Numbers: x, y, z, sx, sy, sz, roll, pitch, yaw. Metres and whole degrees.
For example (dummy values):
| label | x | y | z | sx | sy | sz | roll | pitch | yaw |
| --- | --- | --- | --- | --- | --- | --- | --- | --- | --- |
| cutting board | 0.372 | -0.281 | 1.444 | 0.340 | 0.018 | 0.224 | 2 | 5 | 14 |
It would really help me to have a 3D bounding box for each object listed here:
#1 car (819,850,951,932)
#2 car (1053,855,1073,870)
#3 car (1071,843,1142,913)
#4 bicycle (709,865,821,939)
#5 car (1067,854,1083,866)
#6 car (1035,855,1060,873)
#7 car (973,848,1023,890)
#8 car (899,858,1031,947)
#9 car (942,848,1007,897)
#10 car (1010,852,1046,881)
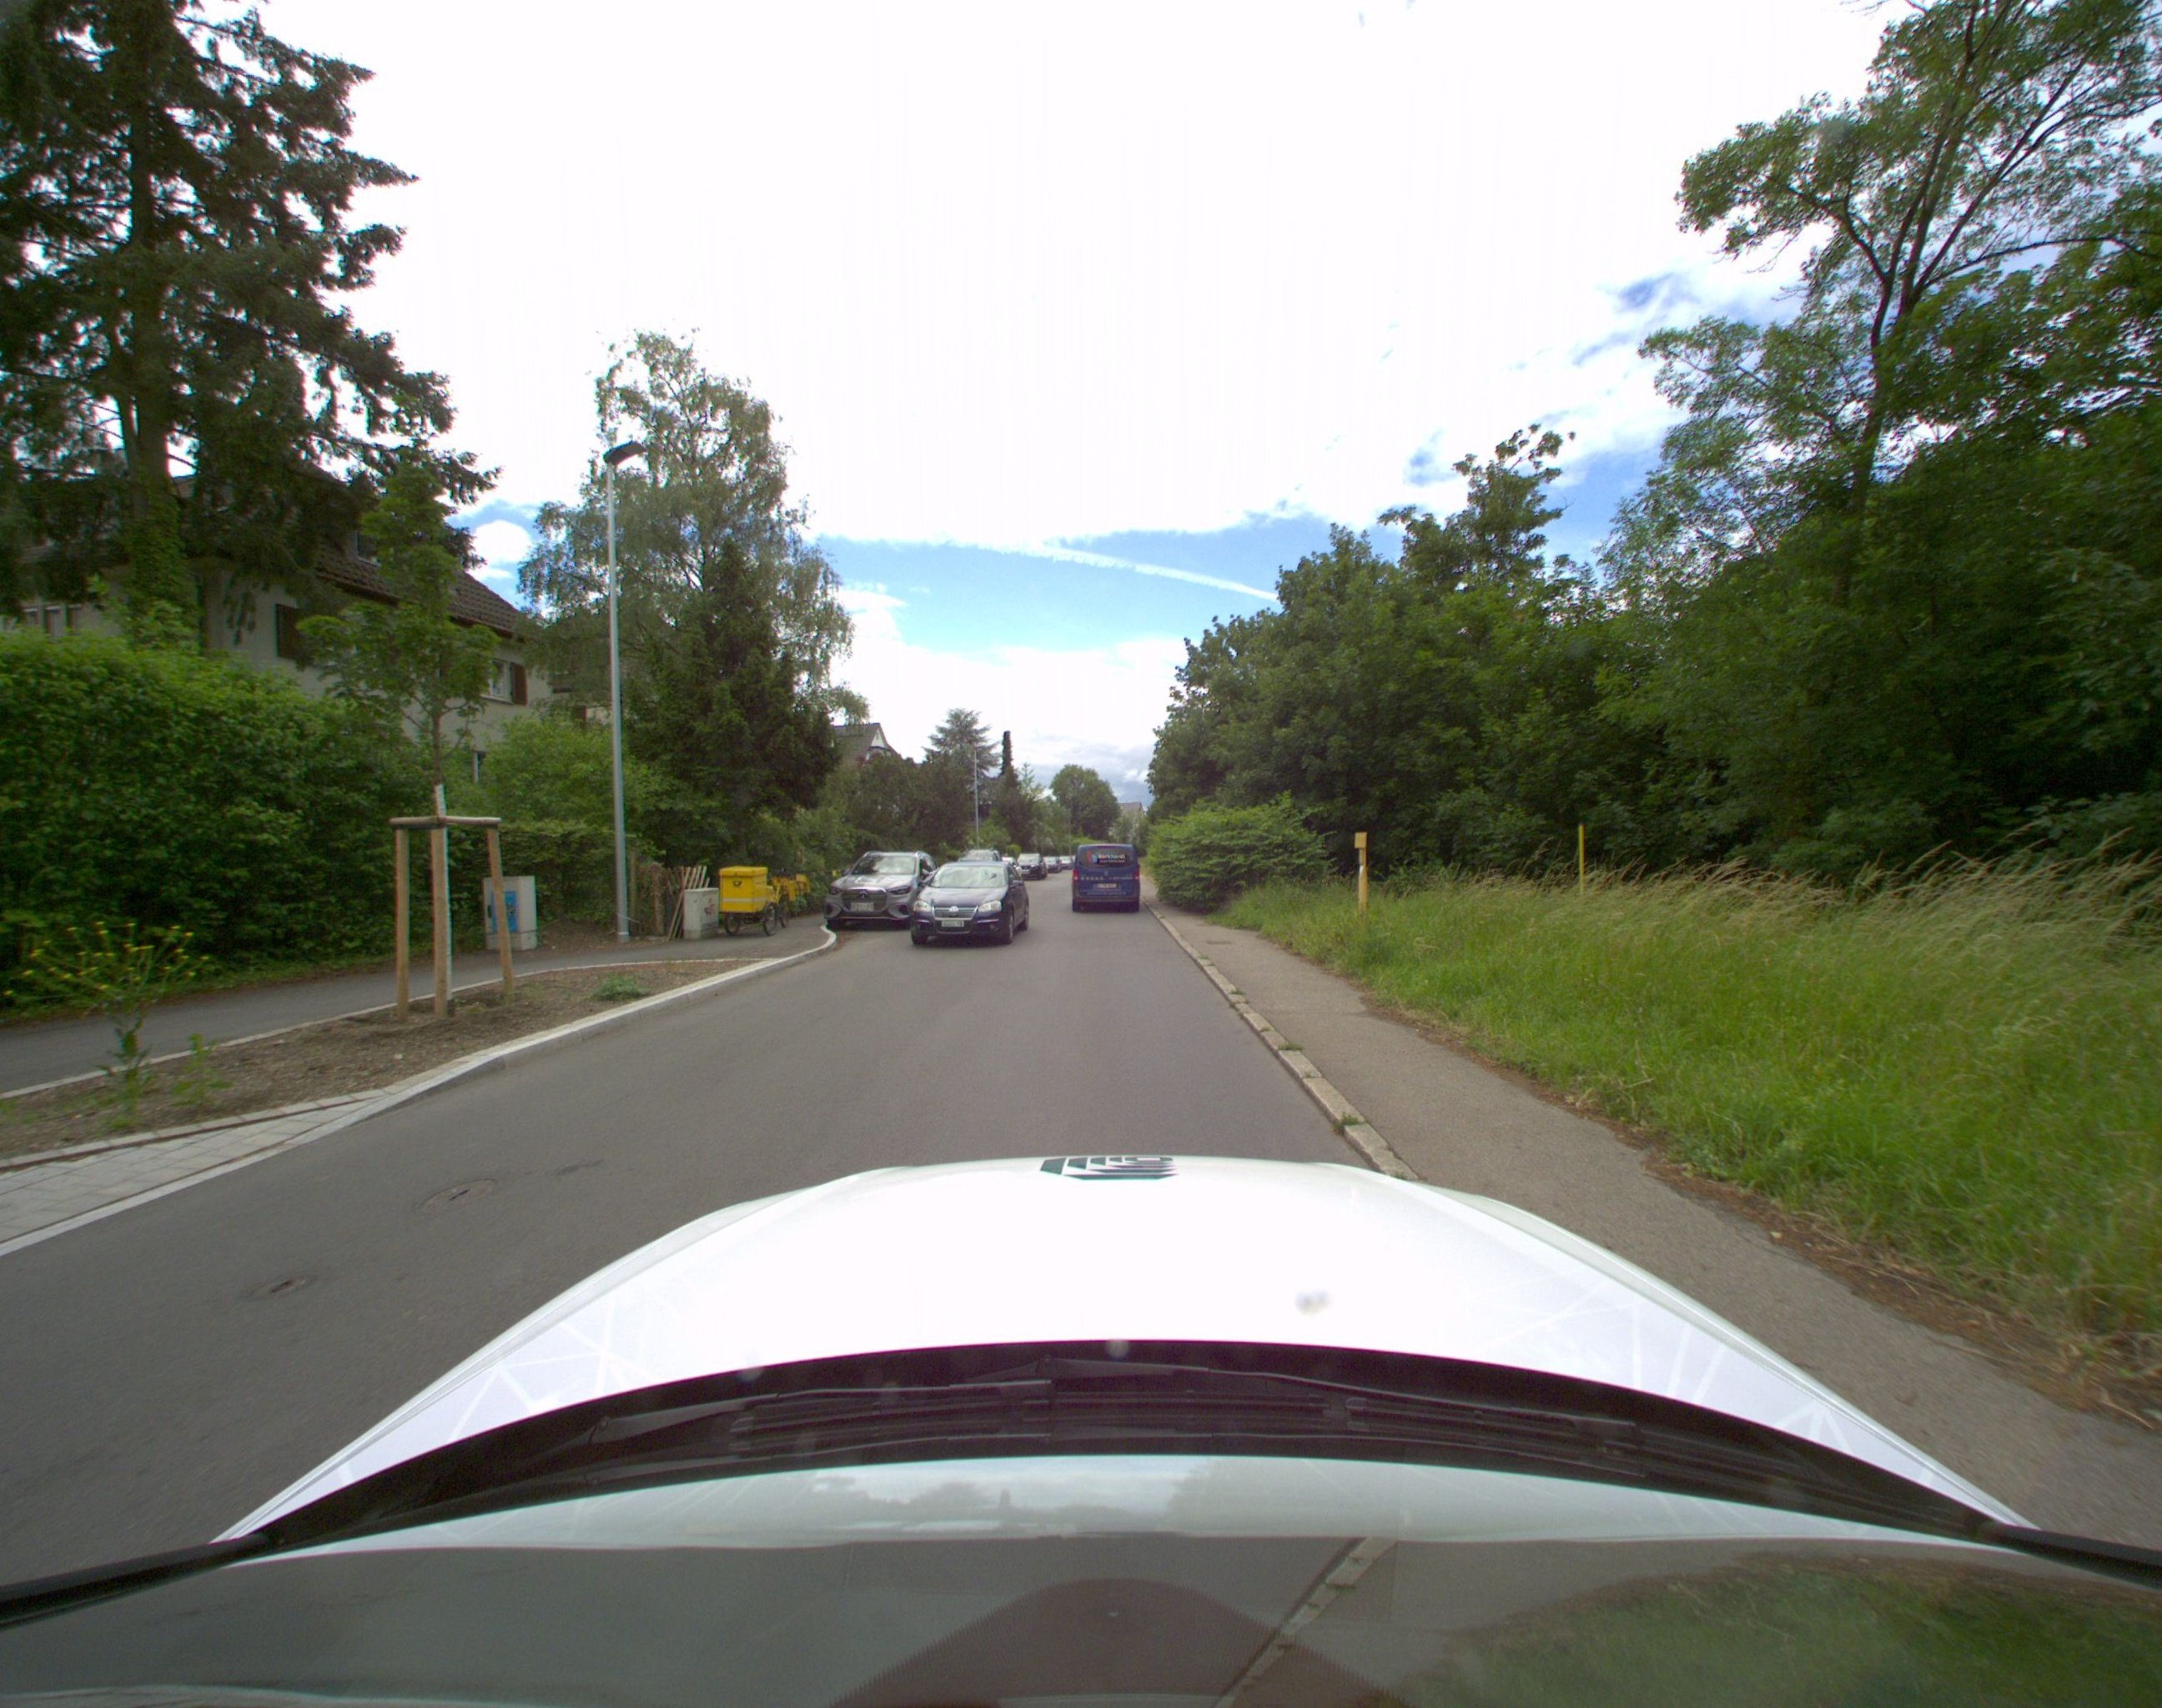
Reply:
| label | x | y | z | sx | sy | sz | roll | pitch | yaw |
| --- | --- | --- | --- | --- | --- | --- | --- | --- | --- |
| car | -4.273 | 0.738 | 18.457 | 1.829 | 1.631 | 4.302 | 0 | 0 | 2 |
| car | -1.968 | 0.929 | 89.184 | 1.921 | 1.413 | 3.965 | 0 | 1 | 2 |
| car | 0.681 | 0.616 | 23.638 | 1.882 | 1.844 | 4.000 | 0 | 1 | 0 |
| bicycle | -5.926 | 0.848 | 15.536 | 0.902 | 1.252 | 2.917 | 1 | 0 | 2 |
| car | -0.785 | 0.798 | 107.807 | 1.921 | 1.413 | 3.965 | 0 | 1 | 2 |
| car | -2.897 | 0.846 | 71.967 | 1.921 | 1.413 | 3.965 | 0 | 1 | 2 |
| car | -3.760 | 0.696 | 37.526 | 1.825 | 1.804 | 4.000 | -1 | -1 | 0 |
| car | -2.050 | 0.817 | 15.497 | 1.813 | 1.443 | 4.002 | 0 | 0 | 2 |
| car | -4.026 | 0.666 | 31.361 | 1.825 | 1.751 | 4.002 | 0 | 0 | 2 |
| car | -3.411 | 0.752 | 53.005 | 1.885 | 1.692 | 4.551 | 0 | 1 | 2 |
